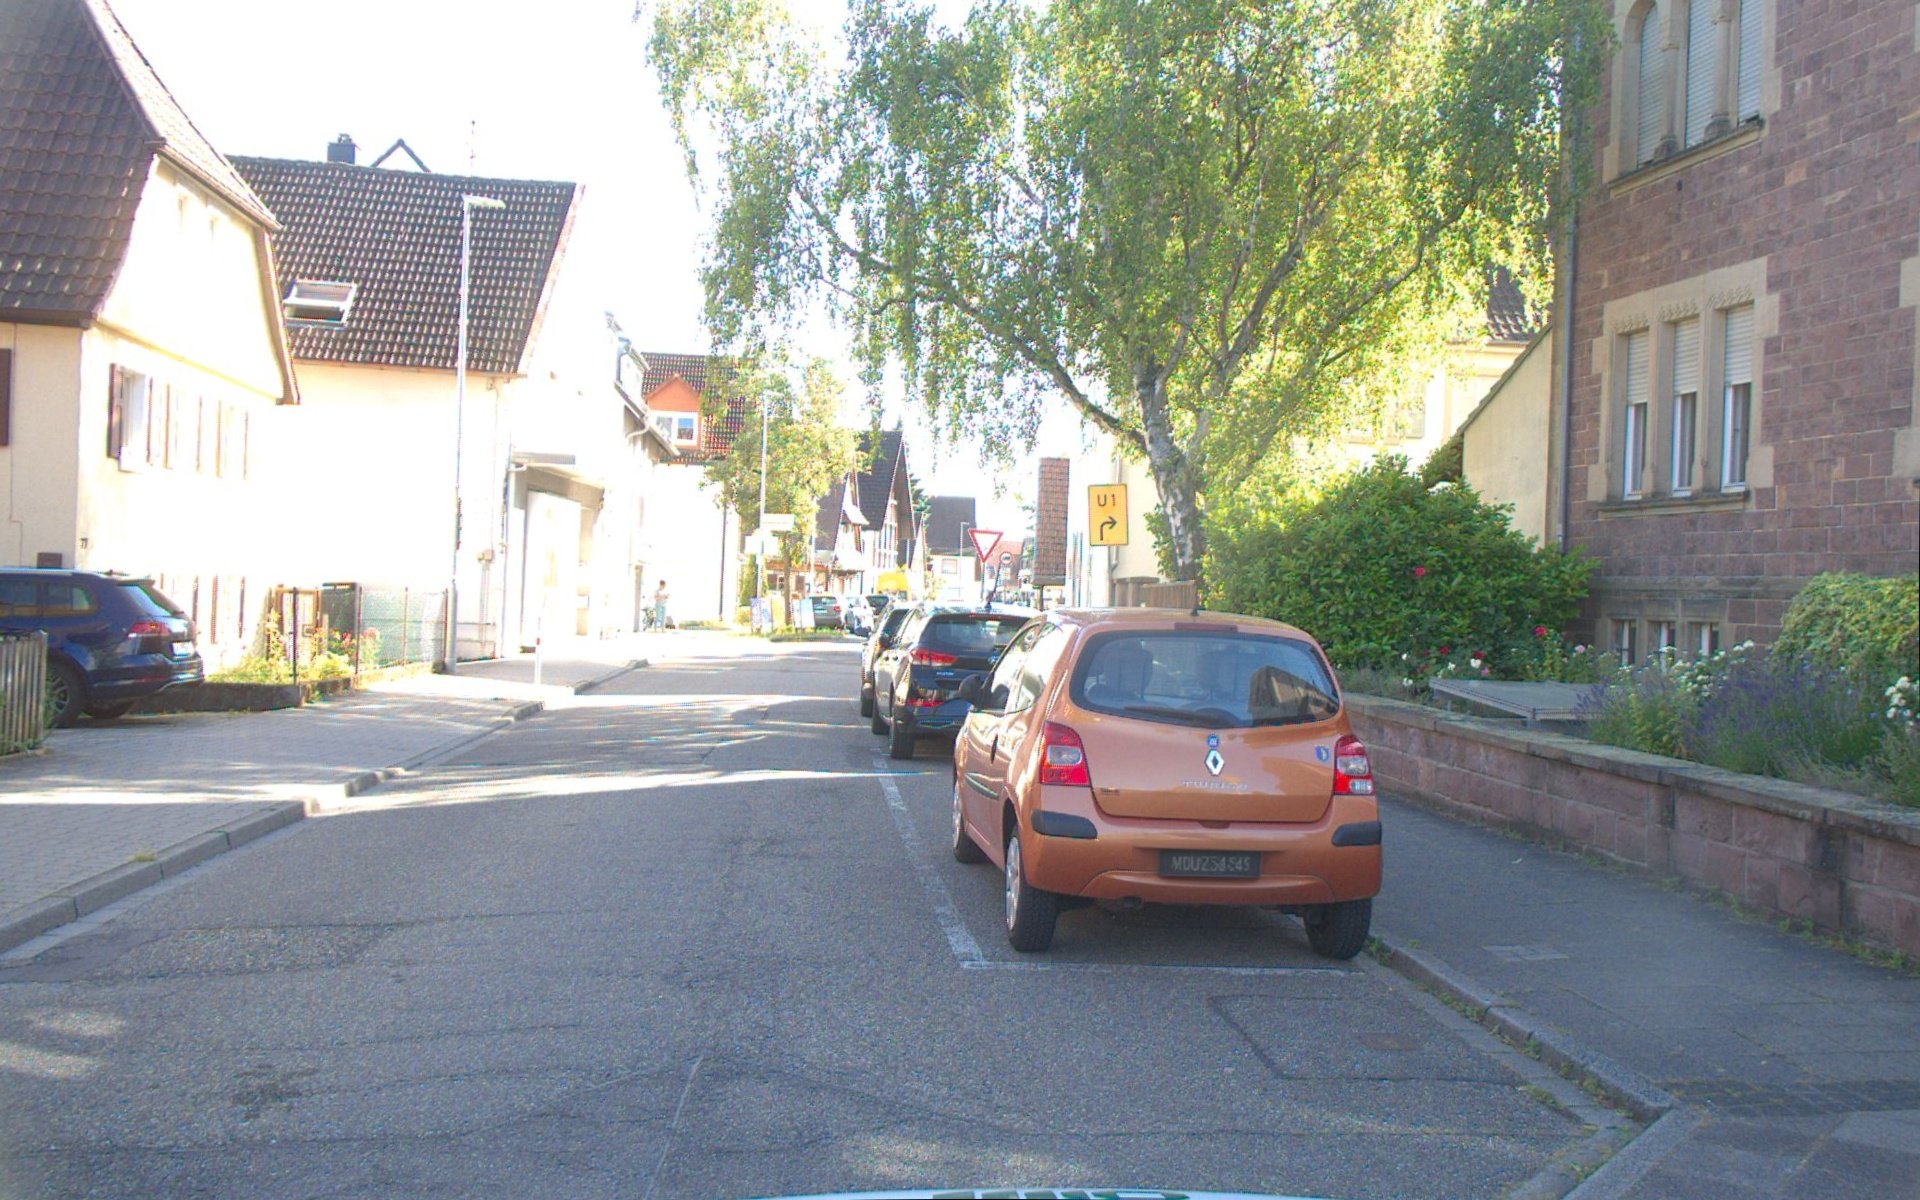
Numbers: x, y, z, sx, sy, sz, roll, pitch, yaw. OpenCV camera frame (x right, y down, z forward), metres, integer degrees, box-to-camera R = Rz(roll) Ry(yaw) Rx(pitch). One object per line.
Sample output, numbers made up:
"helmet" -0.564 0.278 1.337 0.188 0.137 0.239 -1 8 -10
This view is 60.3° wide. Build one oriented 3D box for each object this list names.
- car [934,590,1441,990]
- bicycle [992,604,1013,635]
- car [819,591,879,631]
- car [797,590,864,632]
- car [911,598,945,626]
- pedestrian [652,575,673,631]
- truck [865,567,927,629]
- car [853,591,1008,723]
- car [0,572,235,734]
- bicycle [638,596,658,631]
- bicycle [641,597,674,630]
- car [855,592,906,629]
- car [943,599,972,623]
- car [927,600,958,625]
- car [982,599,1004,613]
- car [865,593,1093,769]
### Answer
"car" 0.886 0.754 8.497 1.617 1.504 3.928 2 1 -6
"bicycle" 1.689 0.785 65.935 0.424 1.197 1.830 2 0 13
"car" -4.588 0.466 68.901 1.768 1.532 4.110 2 -1 6
"car" -5.017 0.444 64.527 1.828 1.532 4.110 2 -1 6
"car" -1.753 0.667 92.296 1.611 1.457 3.616 2 0 3
"pedestrian" -9.445 0.101 52.477 0.473 1.722 0.557 2 -2 1
"truck" -3.177 -0.049 83.261 2.220 2.918 5.786 2 -1 6
"car" -0.438 0.661 21.606 1.771 1.461 4.283 2 1 -3
"car" -9.452 0.480 16.026 4.082 1.487 1.844 0 1 -10
"bicycle" -9.860 0.440 52.290 0.415 1.071 1.380 2 -1 -2
"bicycle" -10.174 0.461 55.692 0.566 1.071 2.037 2 -1 4
"car" -3.698 0.502 77.798 1.768 1.650 3.883 2 -1 6
"car" -0.150 0.688 105.461 1.555 1.468 3.616 2 0 3
"car" -0.997 0.725 96.889 1.555 1.359 3.616 2 0 3
"car" 3.991 0.703 198.222 1.936 1.610 3.987 2 0 -8
"car" 0.055 0.720 16.905 1.773 1.461 4.280 2 1 -6
